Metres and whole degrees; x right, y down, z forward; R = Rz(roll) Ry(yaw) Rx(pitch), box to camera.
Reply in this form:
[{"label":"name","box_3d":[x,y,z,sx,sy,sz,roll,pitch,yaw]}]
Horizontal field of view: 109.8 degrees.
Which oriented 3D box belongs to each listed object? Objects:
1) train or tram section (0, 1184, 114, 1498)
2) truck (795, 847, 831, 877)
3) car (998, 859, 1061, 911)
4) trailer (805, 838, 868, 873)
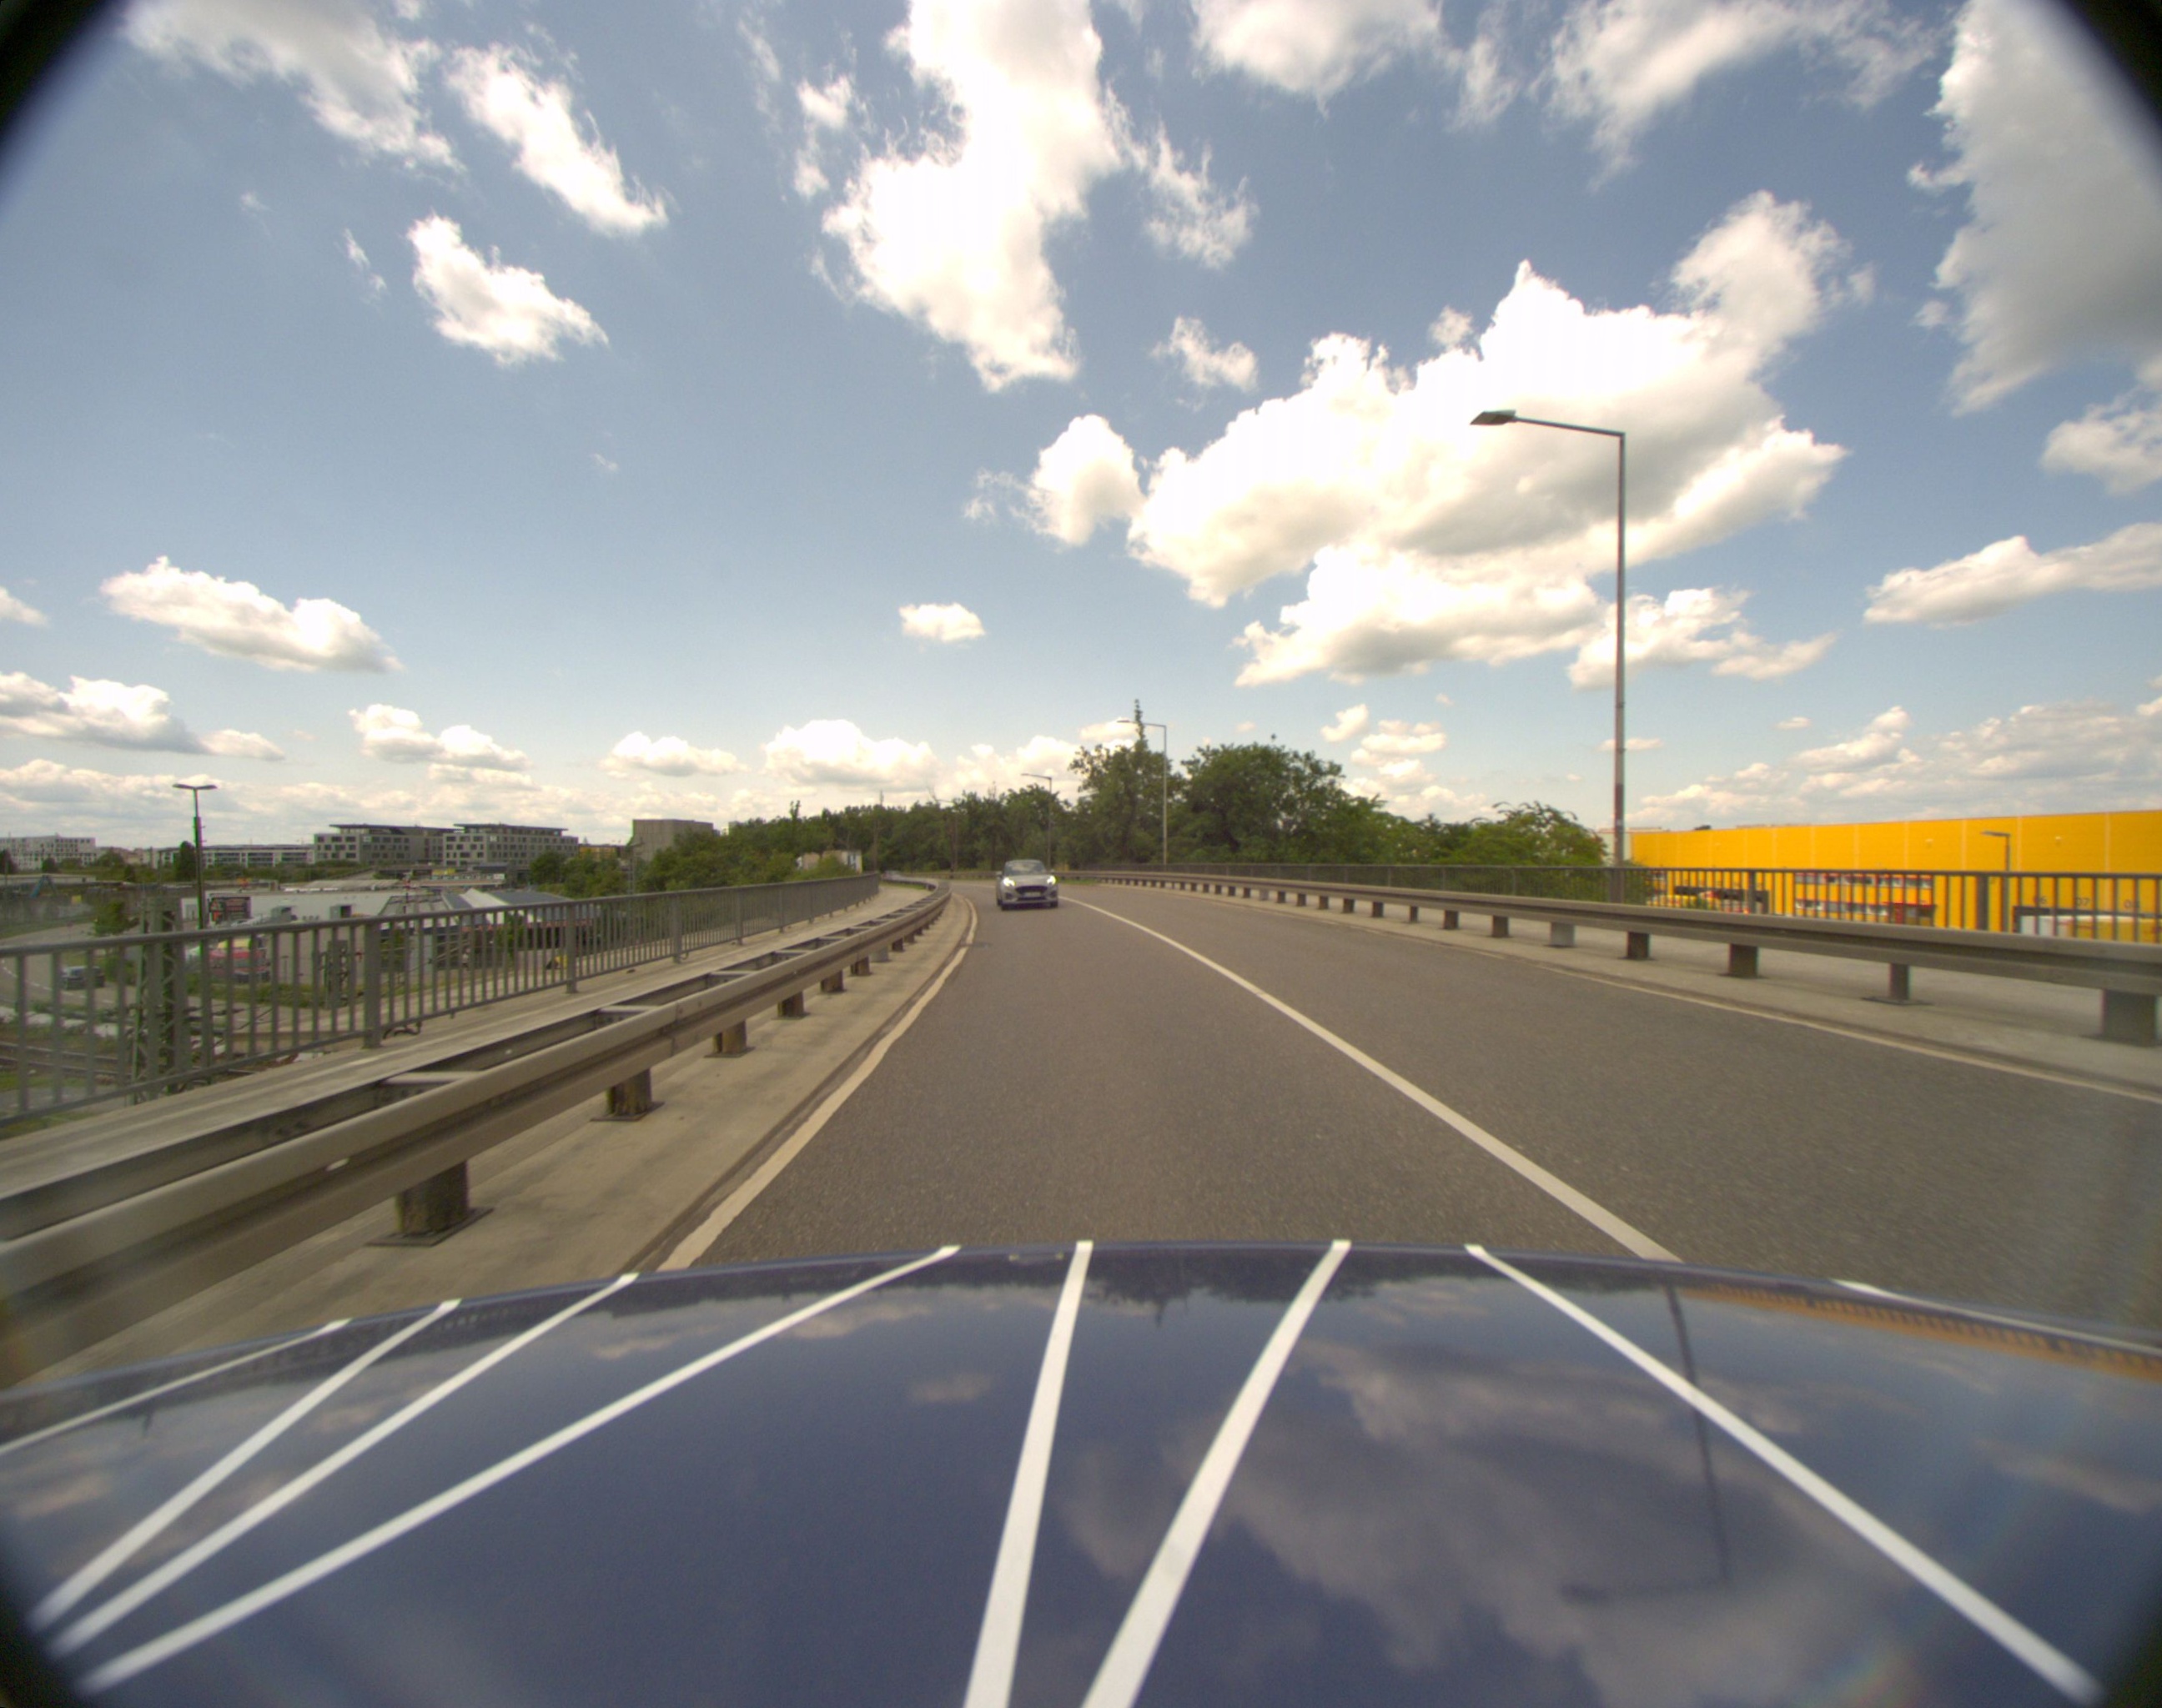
[{"label":"train or tram section","box_3d":[-22.541,7.855,12.656,12.043,4.131,3.131,0,4,15]},{"label":"truck","box_3d":[-38.046,1.150,107.621,2.775,4.110,5.638,-3,1,-41]},{"label":"car","box_3d":[-1.787,0.977,25.216,1.829,1.515,3.998,-3,-1,-7]},{"label":"trailer","box_3d":[-32.835,0.301,101.438,2.720,4.255,14.194,-3,1,-40]}]
